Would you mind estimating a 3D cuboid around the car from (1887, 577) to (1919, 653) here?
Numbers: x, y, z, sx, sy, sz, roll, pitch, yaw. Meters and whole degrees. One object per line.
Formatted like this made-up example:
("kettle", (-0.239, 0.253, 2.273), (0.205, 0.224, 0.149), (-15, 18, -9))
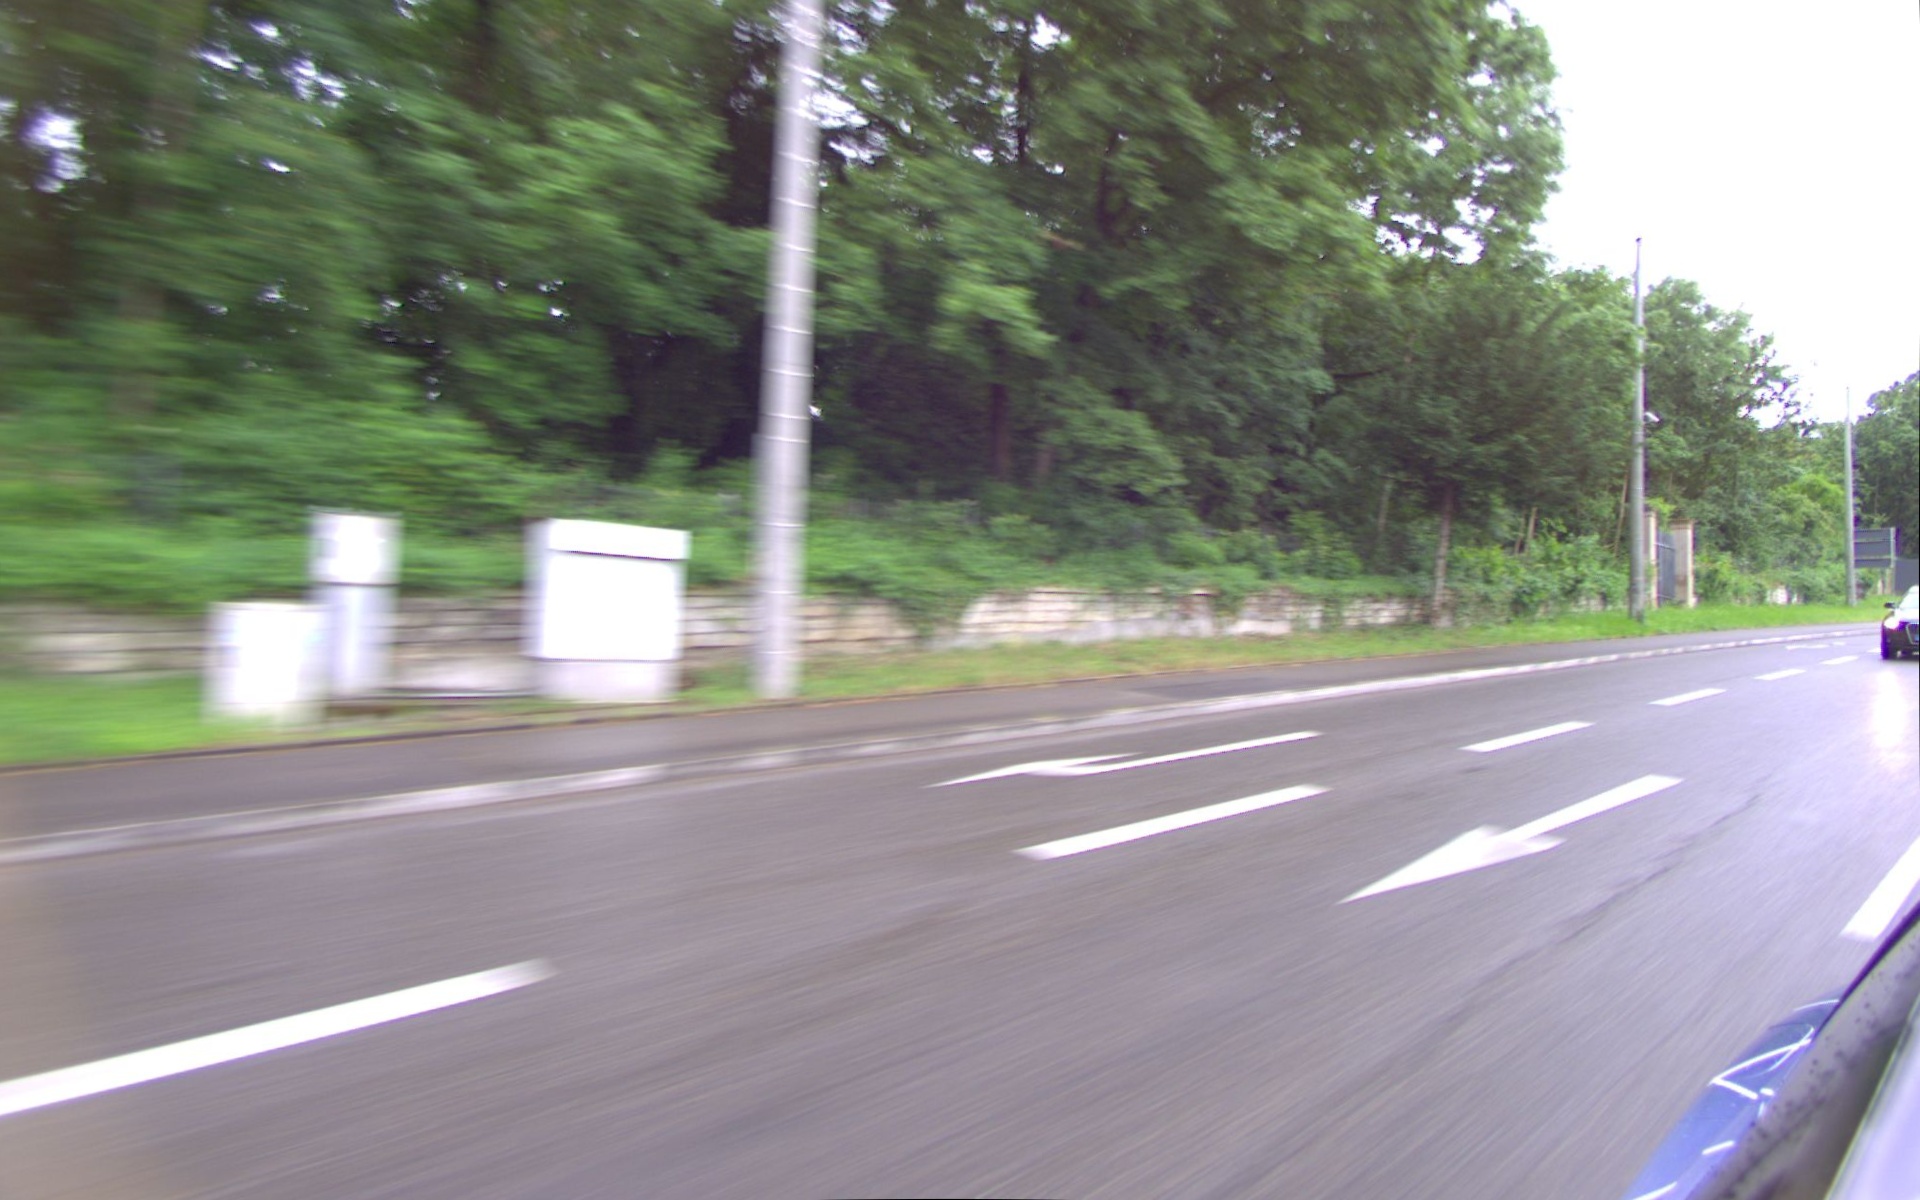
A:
("car", (21.959, 0.283, 22.212), (3.928, 1.607, 1.855), (-1, 1, -39))
